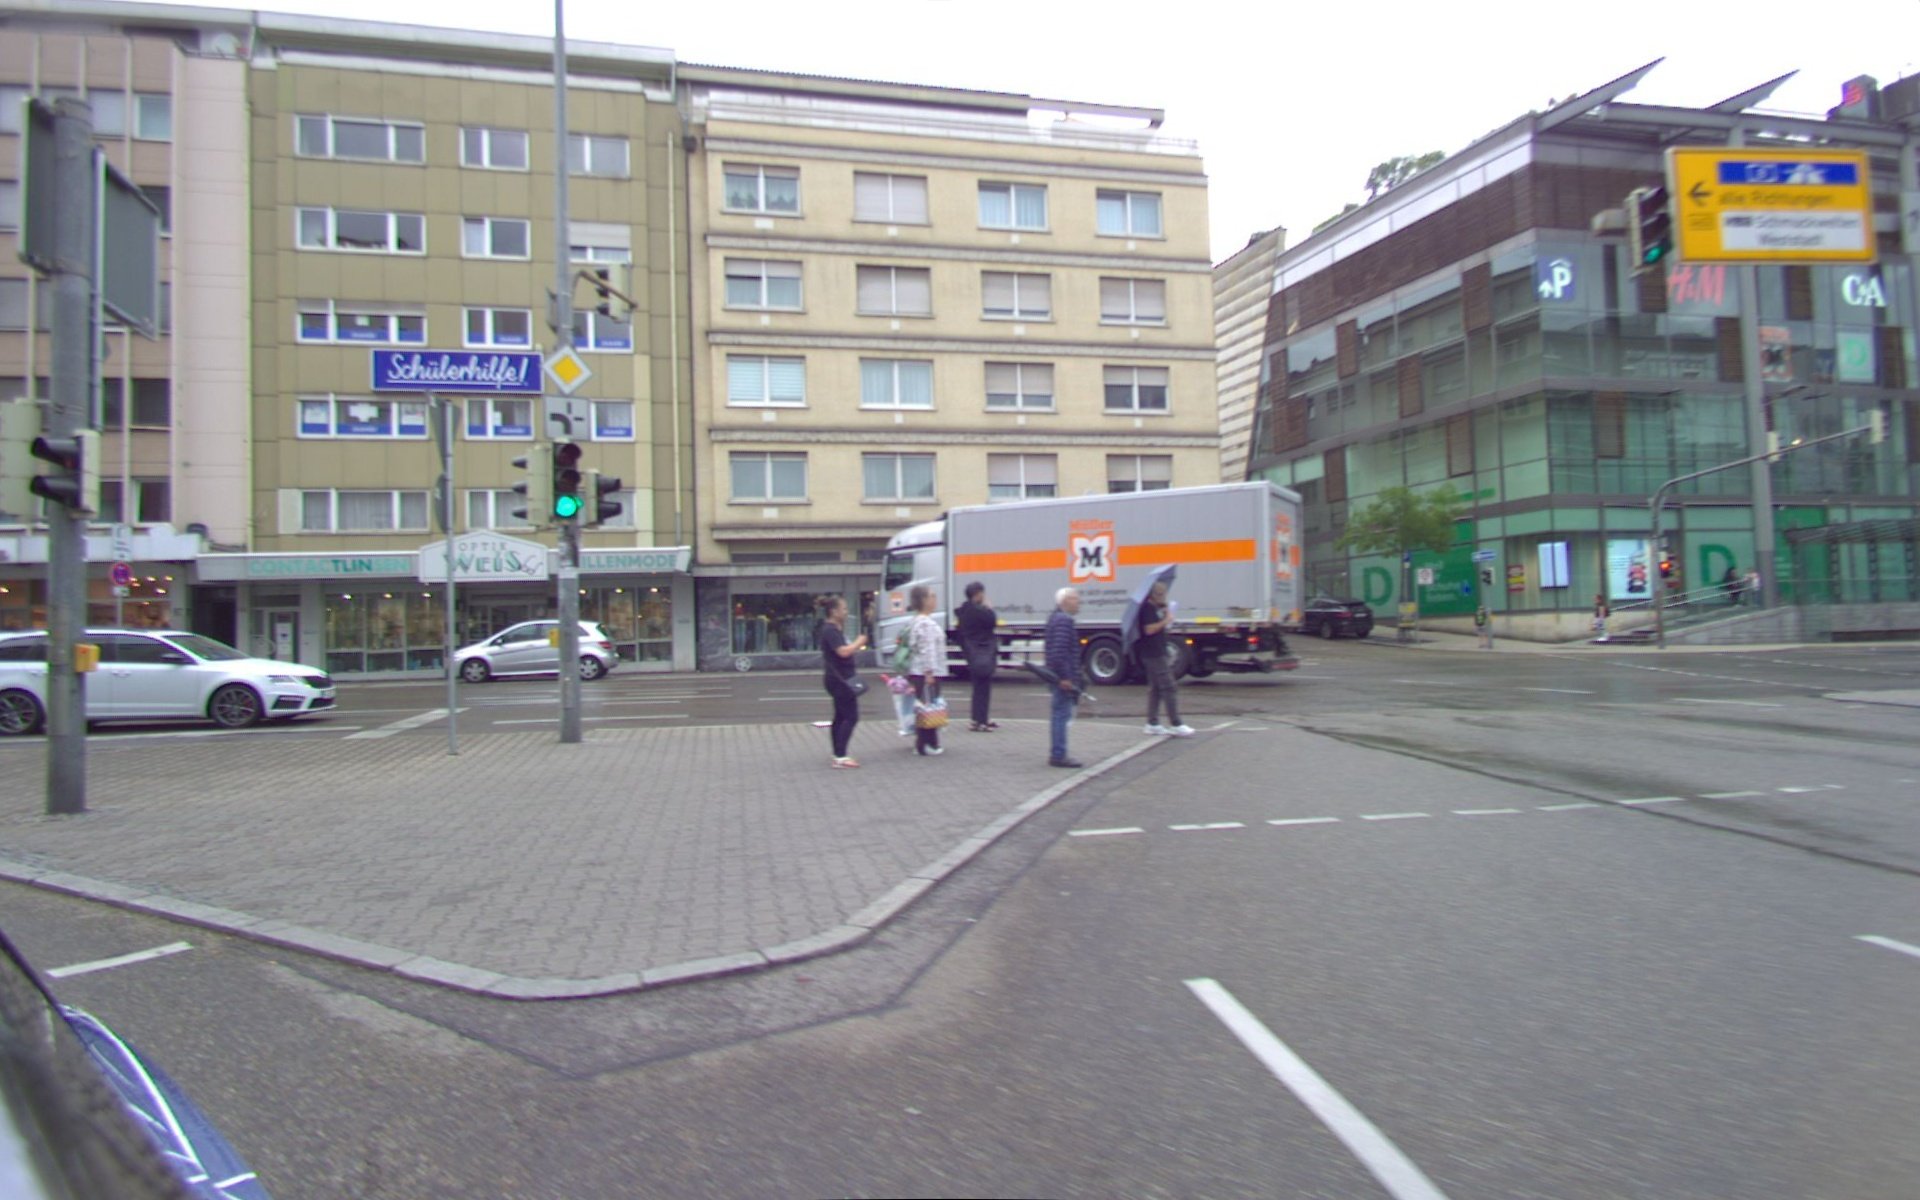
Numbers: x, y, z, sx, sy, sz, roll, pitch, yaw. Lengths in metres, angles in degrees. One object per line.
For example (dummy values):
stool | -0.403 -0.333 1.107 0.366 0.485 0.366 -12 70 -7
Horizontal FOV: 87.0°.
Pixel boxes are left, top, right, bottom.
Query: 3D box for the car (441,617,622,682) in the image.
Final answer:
car | -11.151 1.265 26.595 4.133 1.575 1.709 -1 -2 -10

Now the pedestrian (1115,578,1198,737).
pedestrian | 2.175 0.623 11.262 0.682 1.704 0.760 1 -1 -8

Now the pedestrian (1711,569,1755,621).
pedestrian | 29.789 -0.185 39.010 0.958 1.995 0.886 0 -2 -13

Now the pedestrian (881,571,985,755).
pedestrian | -0.284 0.585 9.851 0.901 1.685 0.983 -1 -1 -7

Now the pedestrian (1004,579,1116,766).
pedestrian | 0.868 0.620 8.981 0.841 1.580 0.716 0 -1 -8

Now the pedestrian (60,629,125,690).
pedestrian | -22.174 1.502 25.884 1.047 1.495 0.670 -1 -1 -14

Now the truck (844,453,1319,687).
truck | 2.306 -0.393 23.171 10.747 4.366 2.821 -2 -2 36

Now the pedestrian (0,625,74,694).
pedestrian | -24.061 1.539 26.405 1.068 1.708 0.957 -1 -1 -14

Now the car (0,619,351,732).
car | -11.647 1.055 14.629 4.554 1.426 1.802 -1 -2 -13

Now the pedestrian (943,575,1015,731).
pedestrian | 0.206 0.589 11.601 0.696 1.724 0.787 0 -1 -8

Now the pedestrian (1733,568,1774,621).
pedestrian | 30.720 -0.210 39.183 0.836 1.995 0.880 0 -2 -13

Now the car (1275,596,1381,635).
car | 15.513 0.642 42.940 1.774 1.558 4.311 -1 0 -22

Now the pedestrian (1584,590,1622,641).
pedestrian | 22.865 0.545 35.990 1.046 1.775 0.687 -2 -3 34

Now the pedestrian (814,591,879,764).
pedestrian | -1.033 0.676 9.157 0.551 1.499 0.708 0 -1 -8

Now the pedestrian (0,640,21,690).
pedestrian | -25.066 1.697 26.354 0.709 1.259 0.537 -1 -1 -14

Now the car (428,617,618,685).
car | -11.391 1.292 26.671 4.327 1.562 1.858 -1 0 -13
